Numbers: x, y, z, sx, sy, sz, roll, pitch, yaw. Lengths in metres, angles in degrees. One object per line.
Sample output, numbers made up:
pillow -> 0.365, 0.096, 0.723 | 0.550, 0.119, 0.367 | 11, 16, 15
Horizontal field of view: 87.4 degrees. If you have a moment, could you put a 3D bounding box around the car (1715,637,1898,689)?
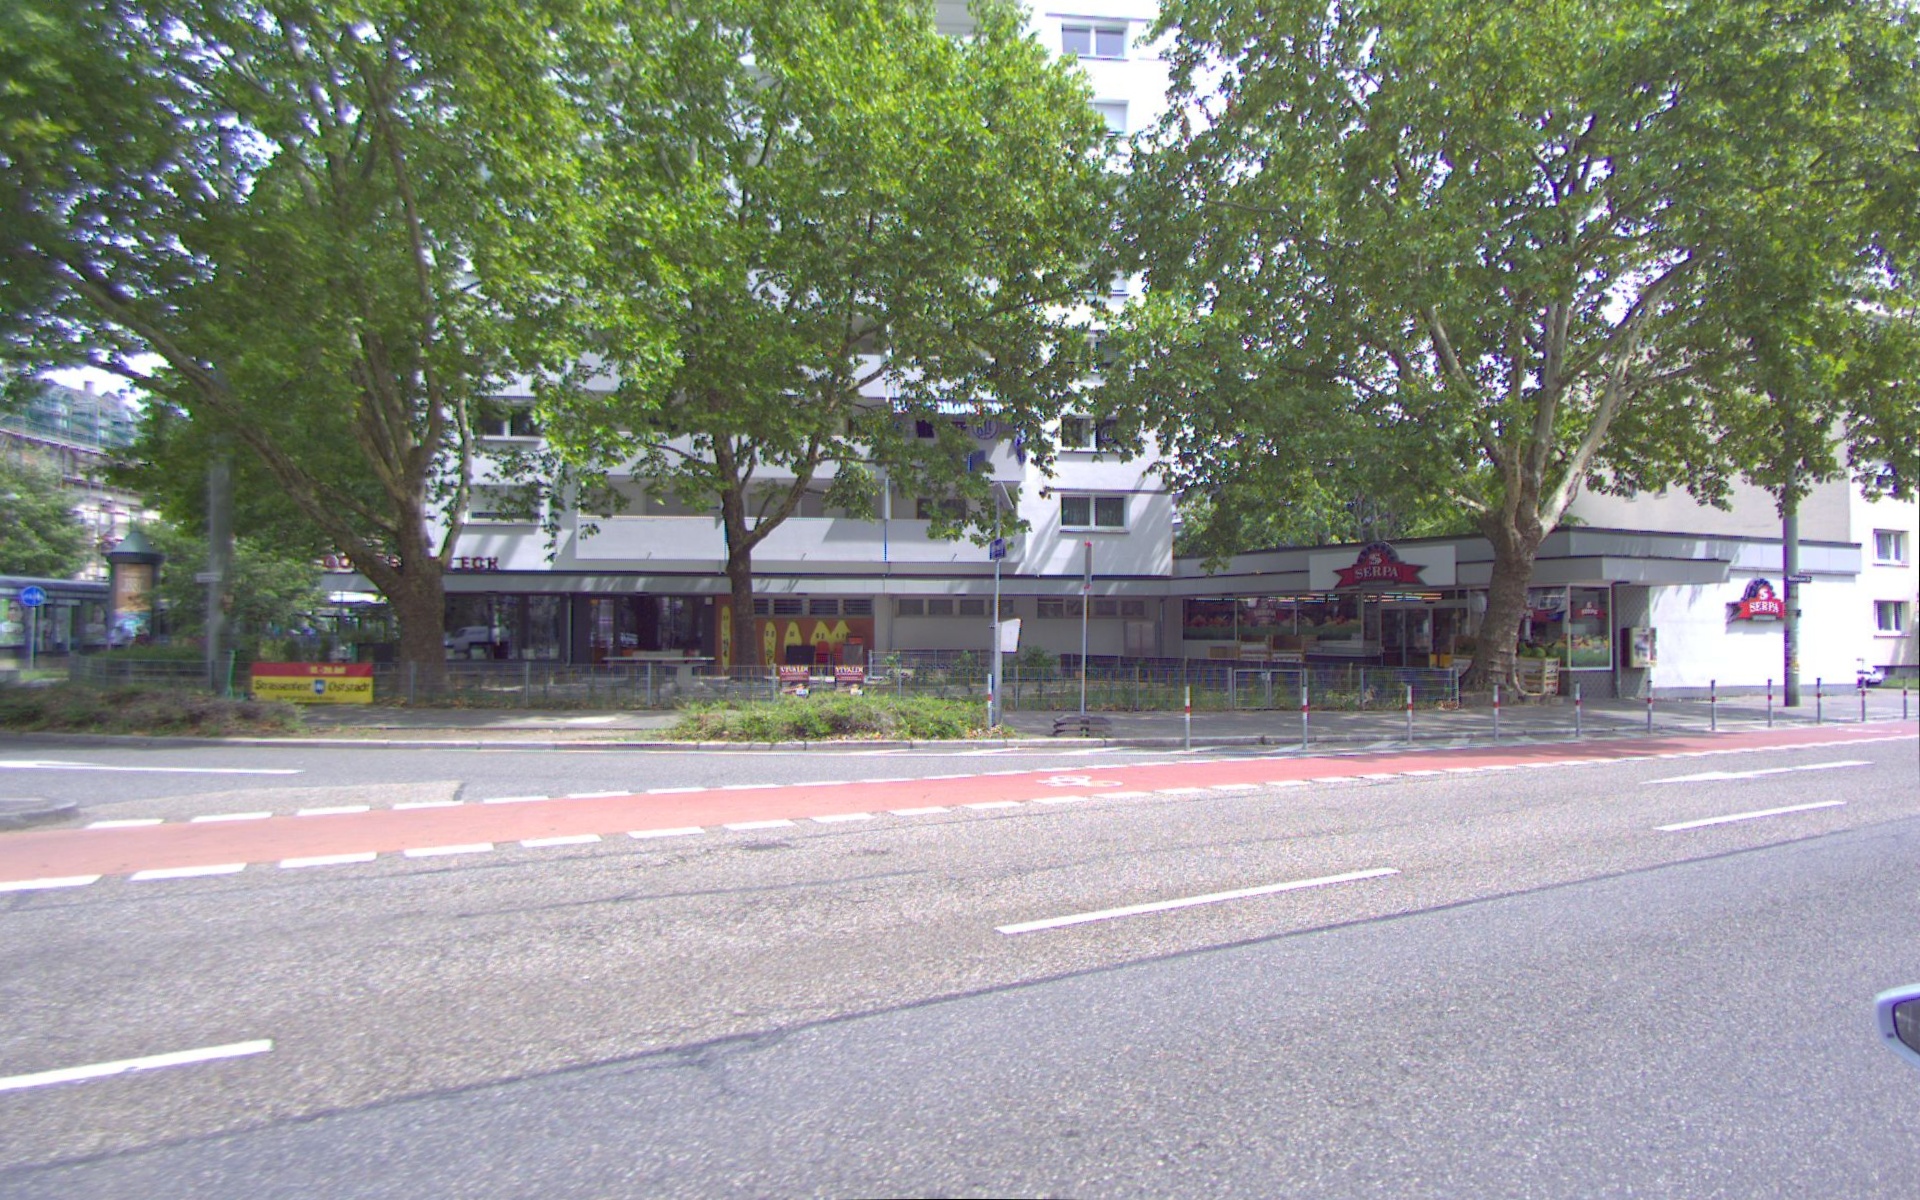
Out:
car -> 29.497, 2.184, 35.216 | 1.820, 1.708, 4.629 | 1, -3, -18

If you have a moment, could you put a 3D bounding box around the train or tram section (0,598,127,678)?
train or tram section -> -41.727, 1.841, 45.586 | 2.323, 3.358, 7.510 | 0, -4, -8

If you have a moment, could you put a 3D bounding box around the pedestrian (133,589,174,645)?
pedestrian -> -24.230, 0.517, 30.181 | 0.683, 1.657, 0.684 | 0, -2, -8

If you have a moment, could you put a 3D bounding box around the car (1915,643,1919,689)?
car -> 31.890, 2.150, 30.226 | 1.823, 1.470, 4.161 | 2, 1, -23

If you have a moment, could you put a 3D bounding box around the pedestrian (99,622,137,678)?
pedestrian -> -25.125, 1.490, 29.970 | 0.683, 1.645, 0.505 | 0, -2, -8
